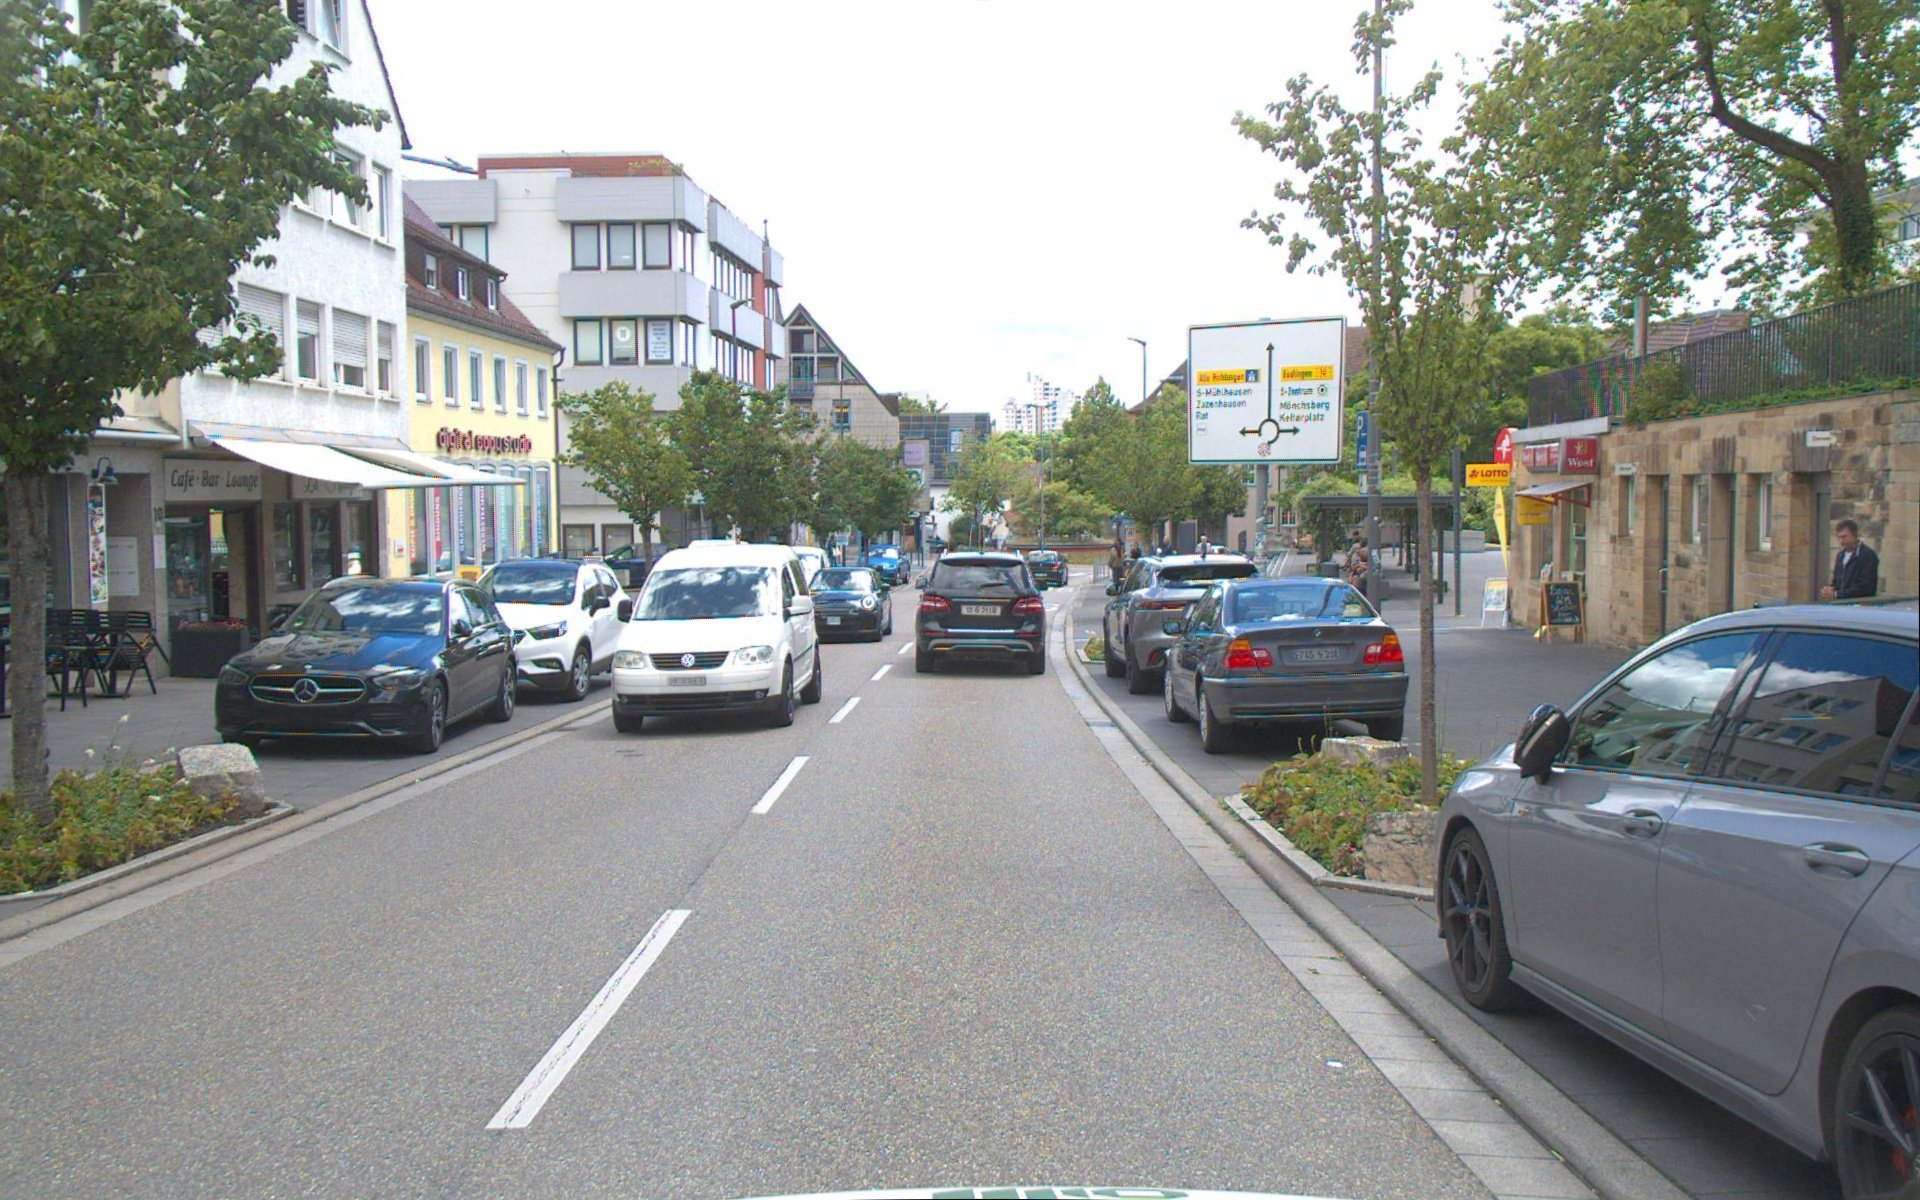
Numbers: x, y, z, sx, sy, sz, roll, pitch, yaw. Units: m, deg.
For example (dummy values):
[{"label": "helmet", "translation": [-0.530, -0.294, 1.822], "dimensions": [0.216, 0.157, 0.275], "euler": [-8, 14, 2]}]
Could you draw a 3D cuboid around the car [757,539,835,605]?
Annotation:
[{"label": "car", "translation": [-4.435, -0.820, 45.318], "dimensions": [1.622, 1.701, 4.352], "euler": [1, 2, 1]}]

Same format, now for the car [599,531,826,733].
[{"label": "car", "translation": [-2.498, 0.268, 17.671], "dimensions": [1.710, 1.834, 4.212], "euler": [-2, 1, 0]}]

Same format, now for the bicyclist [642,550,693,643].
[{"label": "bicyclist", "translation": [-5.554, -0.080, 31.401], "dimensions": [0.769, 1.724, 0.504], "euler": [-3, 2, -35]}]

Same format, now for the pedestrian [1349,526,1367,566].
[{"label": "pedestrian", "translation": [13.759, -1.869, 57.176], "dimensions": [0.555, 1.346, 0.546], "euler": [1, 2, 14]}]

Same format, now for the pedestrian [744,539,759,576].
[{"label": "pedestrian", "translation": [-9.101, -1.855, 72.193], "dimensions": [0.499, 1.593, 0.587], "euler": [-1, 2, 5]}]

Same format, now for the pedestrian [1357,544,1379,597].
[{"label": "pedestrian", "translation": [10.680, -0.782, 43.328], "dimensions": [0.484, 1.343, 0.576], "euler": [-1, 4, 8]}]

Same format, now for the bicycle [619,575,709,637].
[{"label": "bicycle", "translation": [-5.608, 0.103, 31.393], "dimensions": [1.636, 1.106, 0.408], "euler": [-3, 2, -36]}]

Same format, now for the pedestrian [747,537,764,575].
[{"label": "pedestrian", "translation": [-8.834, -1.901, 71.510], "dimensions": [0.576, 1.593, 0.642], "euler": [-2, 2, -19]}]

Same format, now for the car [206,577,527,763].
[{"label": "car", "translation": [-5.414, 0.546, 15.722], "dimensions": [1.804, 1.476, 4.510], "euler": [1, 1, -6]}]

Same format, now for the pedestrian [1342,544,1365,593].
[{"label": "pedestrian", "translation": [10.623, -0.865, 44.677], "dimensions": [0.556, 1.283, 0.542], "euler": [-1, 4, 9]}]

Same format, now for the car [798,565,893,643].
[{"label": "car", "translation": [-2.230, 0.031, 33.089], "dimensions": [1.573, 1.412, 3.630], "euler": [-2, 1, 1]}]

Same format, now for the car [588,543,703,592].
[{"label": "car", "translation": [-10.522, -1.090, 55.450], "dimensions": [3.554, 1.585, 1.668], "euler": [0, 2, -2]}]

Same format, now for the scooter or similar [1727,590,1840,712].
[{"label": "scooter or similar", "translation": [7.619, 0.463, 15.331], "dimensions": [0.794, 1.091, 0.561], "euler": [-1, 0, 11]}]

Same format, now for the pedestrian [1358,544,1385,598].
[{"label": "pedestrian", "translation": [10.611, -0.745, 42.679], "dimensions": [0.603, 1.343, 0.586], "euler": [-1, 4, 8]}]

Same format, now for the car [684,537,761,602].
[{"label": "car", "translation": [-7.141, -0.977, 50.096], "dimensions": [1.720, 1.845, 4.477], "euler": [1, 2, -1]}]

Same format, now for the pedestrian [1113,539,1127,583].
[{"label": "pedestrian", "translation": [5.888, -1.449, 60.851], "dimensions": [0.489, 1.593, 0.498], "euler": [-1, 2, 4]}]

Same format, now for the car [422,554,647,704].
[{"label": "car", "translation": [-5.204, 0.269, 20.778], "dimensions": [1.631, 1.675, 4.135], "euler": [1, 2, 2]}]

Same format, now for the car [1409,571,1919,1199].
[{"label": "car", "translation": [2.732, 0.659, 4.522], "dimensions": [1.719, 1.466, 4.087], "euler": [-1, 0, -3]}]

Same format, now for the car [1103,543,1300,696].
[{"label": "car", "translation": [3.007, 0.162, 21.527], "dimensions": [1.889, 1.754, 4.574], "euler": [-1, 2, 0]}]

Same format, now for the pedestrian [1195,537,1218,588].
[{"label": "pedestrian", "translation": [8.317, -1.261, 55.823], "dimensions": [0.670, 1.711, 0.715], "euler": [0, 2, 15]}]

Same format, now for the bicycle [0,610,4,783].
[{"label": "bicycle", "translation": [-6.464, 0.646, 9.850], "dimensions": [0.474, 1.126, 1.907], "euler": [0, 1, -2]}]

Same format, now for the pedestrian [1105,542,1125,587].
[{"label": "pedestrian", "translation": [5.481, -1.248, 58.400], "dimensions": [0.503, 1.576, 0.486], "euler": [0, 2, 31]}]

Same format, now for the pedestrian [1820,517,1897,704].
[{"label": "pedestrian", "translation": [8.251, 0.094, 15.198], "dimensions": [0.463, 1.674, 0.507], "euler": [-1, 0, 11]}]

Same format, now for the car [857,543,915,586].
[{"label": "car", "translation": [-3.039, -1.489, 68.726], "dimensions": [1.658, 1.627, 4.336], "euler": [3, 2, 7]}]

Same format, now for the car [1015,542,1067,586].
[{"label": "car", "translation": [3.283, -1.511, 67.875], "dimensions": [2.010, 1.615, 4.375], "euler": [2, 2, 2]}]

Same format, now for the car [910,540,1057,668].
[{"label": "car", "translation": [0.261, 0.040, 25.218], "dimensions": [1.987, 1.757, 4.431], "euler": [1, 0, -3]}]

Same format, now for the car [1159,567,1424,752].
[{"label": "car", "translation": [2.884, 0.467, 15.256], "dimensions": [1.646, 1.441, 4.372], "euler": [-1, 0, 1]}]

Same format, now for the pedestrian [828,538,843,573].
[{"label": "pedestrian", "translation": [-5.942, -2.130, 78.867], "dimensions": [0.574, 1.615, 0.639], "euler": [1, 2, 6]}]

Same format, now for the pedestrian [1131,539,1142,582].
[{"label": "pedestrian", "translation": [6.510, -1.461, 61.019], "dimensions": [0.385, 1.593, 0.352], "euler": [-1, 2, 8]}]

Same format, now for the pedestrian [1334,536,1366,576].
[{"label": "pedestrian", "translation": [12.624, -1.437, 53.533], "dimensions": [0.757, 1.291, 0.673], "euler": [2, 3, 40]}]

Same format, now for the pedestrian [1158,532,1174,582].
[{"label": "pedestrian", "translation": [7.237, -1.517, 58.126], "dimensions": [0.500, 1.709, 0.577], "euler": [-1, 2, 4]}]

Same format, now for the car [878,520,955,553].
[{"label": "car", "translation": [-3.717, -5.362, 140.271], "dimensions": [6.184, 2.604, 2.196], "euler": [1, -1, -17]}]

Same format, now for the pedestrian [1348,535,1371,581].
[{"label": "pedestrian", "translation": [11.944, -1.257, 49.491], "dimensions": [0.610, 1.330, 0.546], "euler": [-1, 2, 8]}]

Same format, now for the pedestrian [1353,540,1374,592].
[{"label": "pedestrian", "translation": [10.731, -0.897, 43.957], "dimensions": [0.487, 1.343, 0.525], "euler": [-1, 4, 9]}]
